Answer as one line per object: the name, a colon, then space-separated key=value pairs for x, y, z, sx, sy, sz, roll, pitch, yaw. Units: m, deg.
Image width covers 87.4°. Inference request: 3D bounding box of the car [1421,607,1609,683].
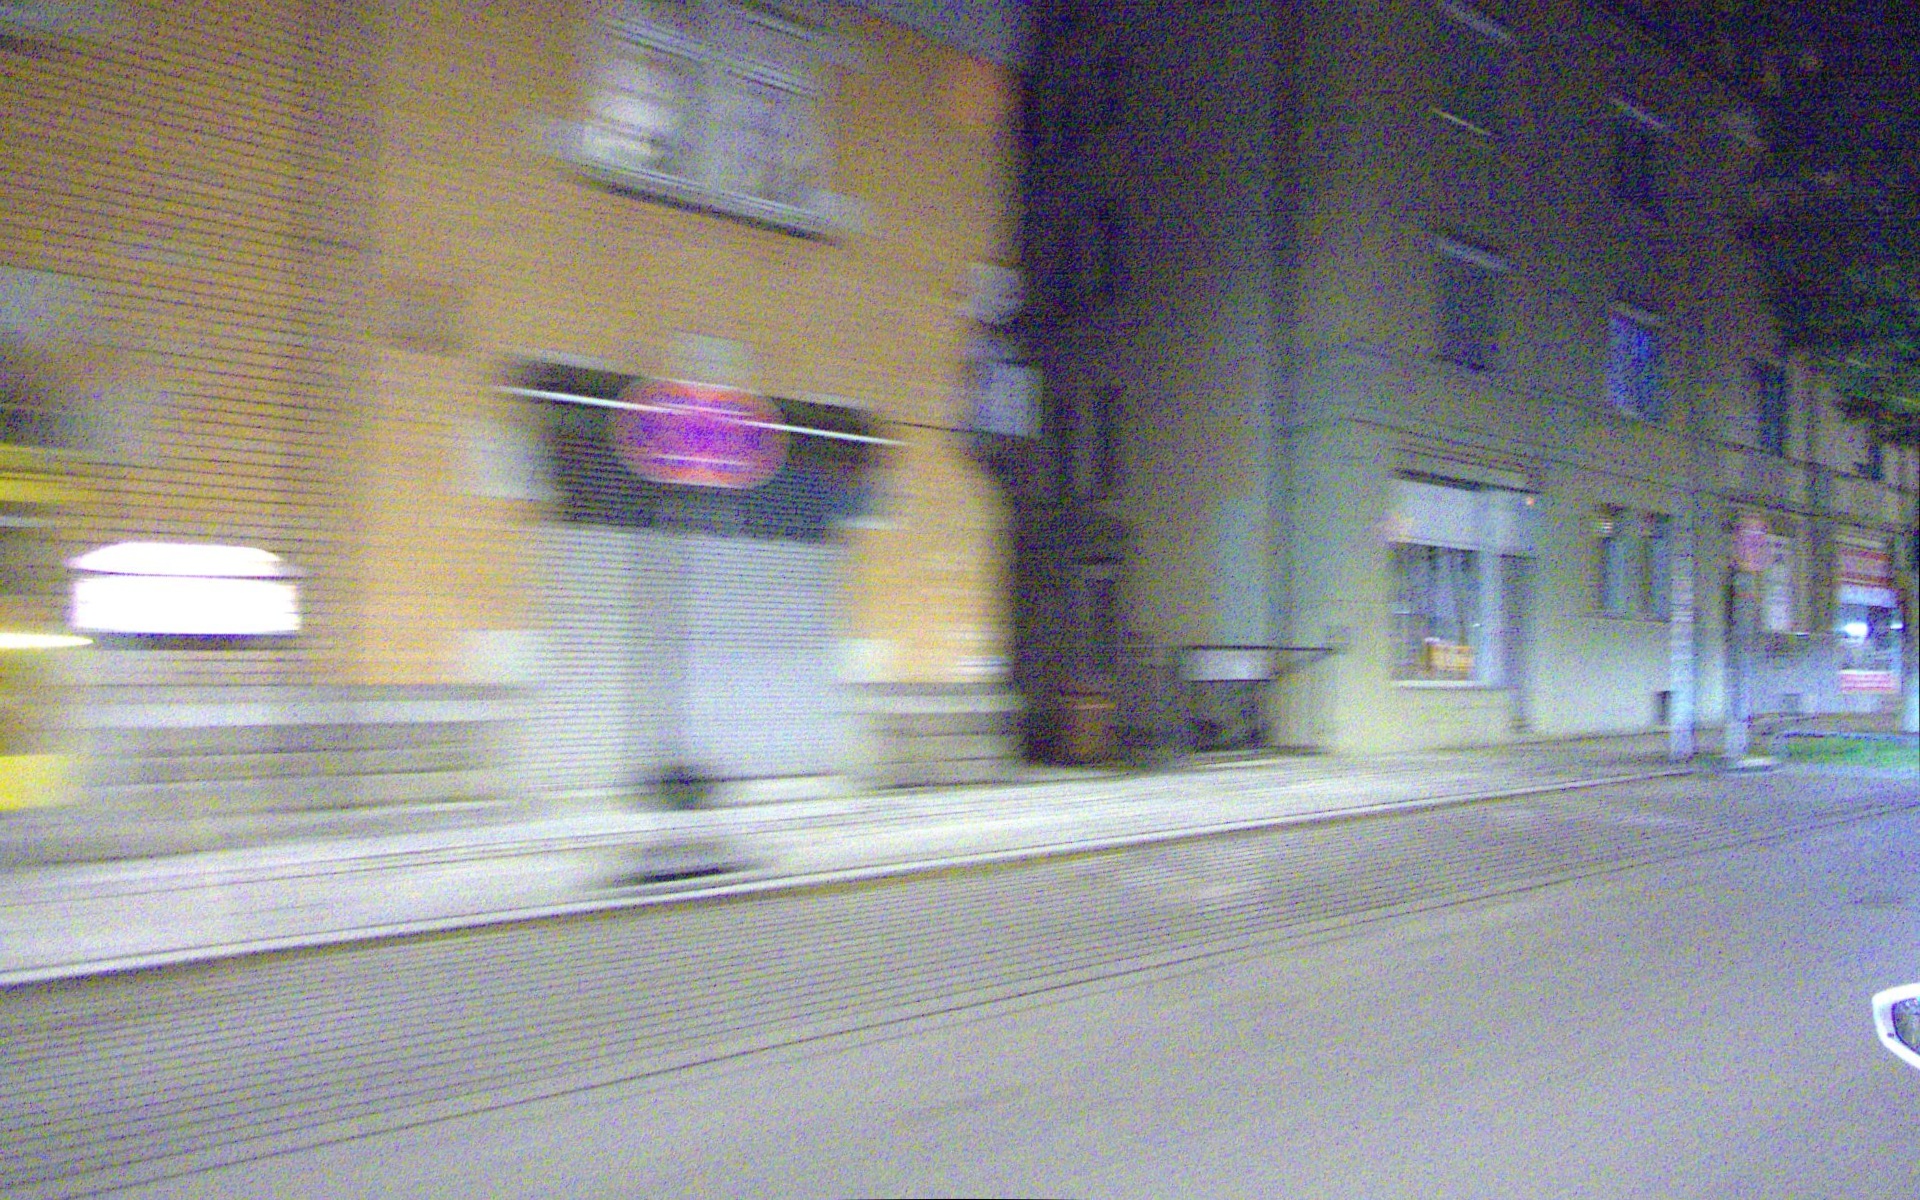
car: x=20.658 y=1.642 z=37.698 sx=2.222 sy=2.577 sz=5.817 roll=4 pitch=-3 yaw=-30
